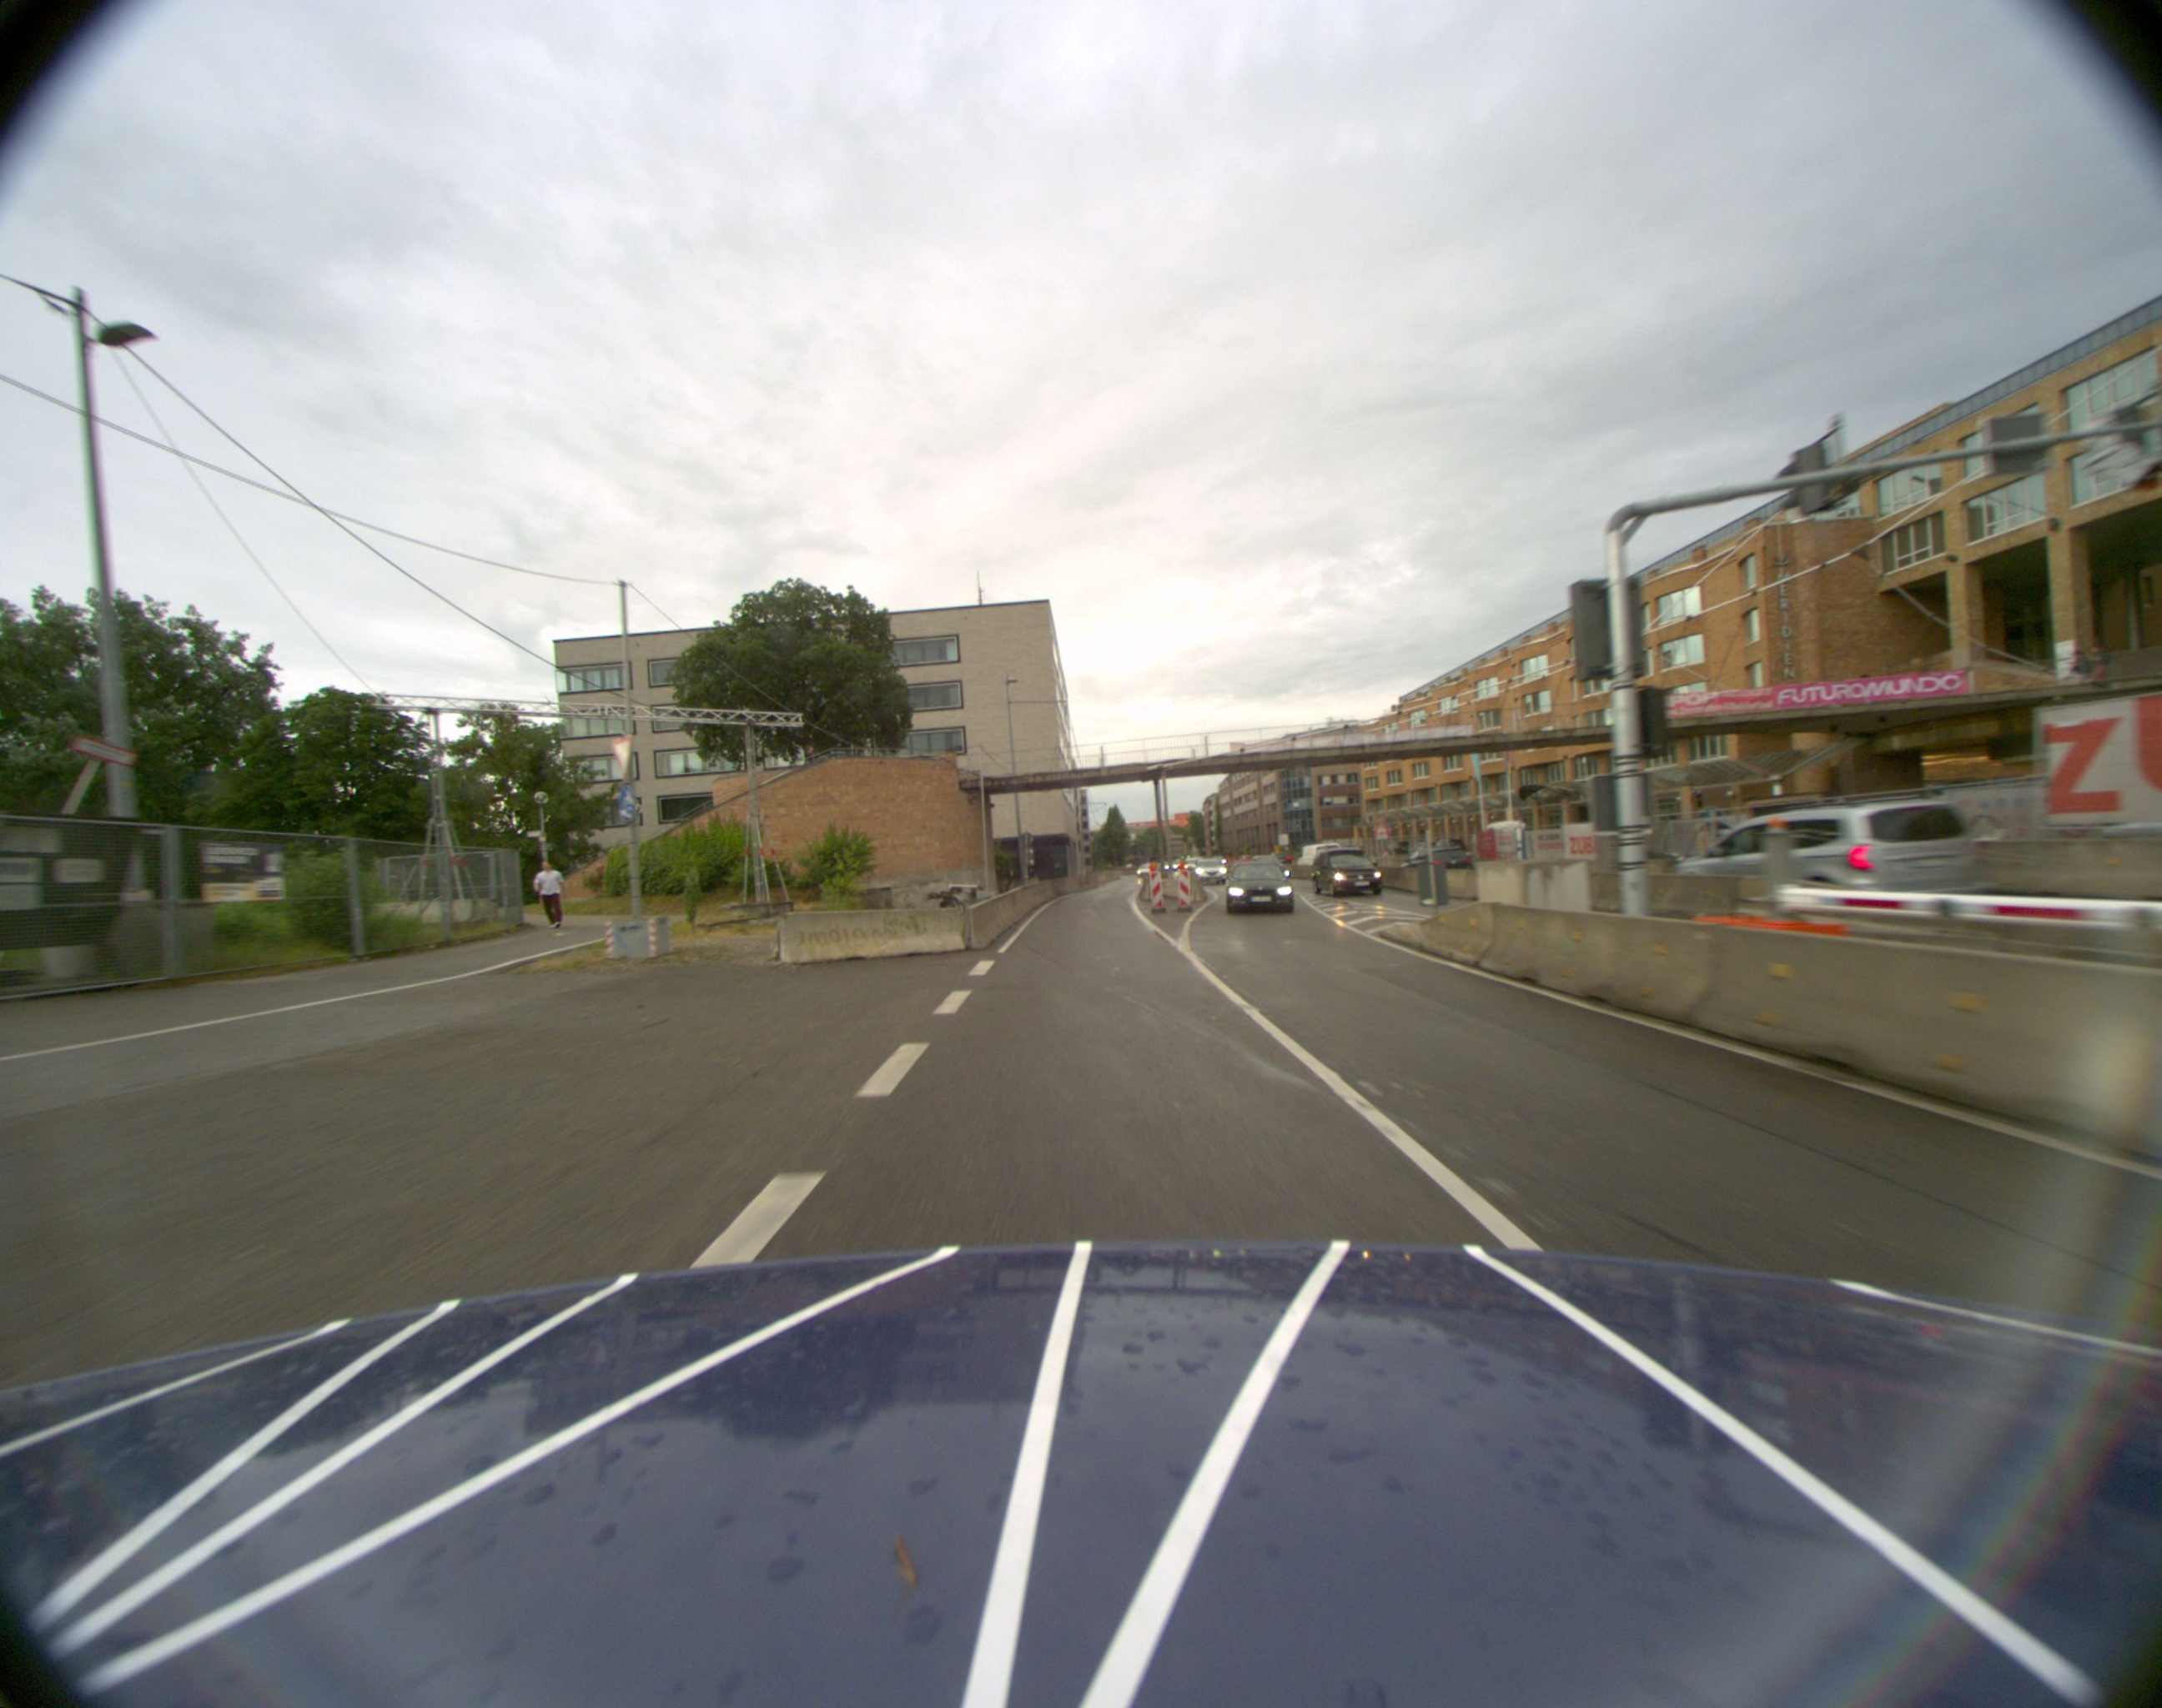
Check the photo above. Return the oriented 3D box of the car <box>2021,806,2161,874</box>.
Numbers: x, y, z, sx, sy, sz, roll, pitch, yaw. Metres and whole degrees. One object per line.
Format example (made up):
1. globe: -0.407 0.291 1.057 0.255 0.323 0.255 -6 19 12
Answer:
1. car: 27.775 -0.354 19.656 1.998 1.683 4.000 -1 0 1

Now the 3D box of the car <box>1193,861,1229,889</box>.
1. car: 8.245 1.303 48.535 1.771 1.524 4.658 -4 -1 4

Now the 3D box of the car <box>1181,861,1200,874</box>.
1. car: 14.581 1.768 101.335 1.772 1.524 4.657 -4 -1 2

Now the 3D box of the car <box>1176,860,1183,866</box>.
1. car: 31.390 2.749 241.279 1.890 1.772 4.879 -4 -1 4

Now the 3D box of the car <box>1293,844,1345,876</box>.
1. car: 15.301 0.431 49.077 1.810 1.810 5.303 -4 -1 2

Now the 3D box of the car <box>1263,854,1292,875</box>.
1. car: 17.144 0.878 66.462 1.809 1.614 3.904 -4 0 5

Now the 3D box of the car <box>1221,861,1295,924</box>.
1. car: 5.157 1.026 21.798 1.770 1.434 4.661 -5 -1 15

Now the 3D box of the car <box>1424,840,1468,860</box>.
1. car: 36.017 -0.373 75.114 1.998 1.680 5.051 -4 -1 2

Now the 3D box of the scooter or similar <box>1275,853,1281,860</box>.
1. scooter or similar: 32.744 0.393 126.258 0.450 1.056 1.044 -4 -1 -9

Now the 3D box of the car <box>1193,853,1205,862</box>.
1. car: 26.128 0.839 168.333 1.998 1.874 4.870 -4 -1 0

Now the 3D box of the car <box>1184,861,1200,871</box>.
1. car: 17.872 1.901 122.443 1.772 1.524 4.657 -4 -1 2

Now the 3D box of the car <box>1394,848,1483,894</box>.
1. car: 14.047 0.663 30.090 1.809 1.613 4.036 -4 -1 5

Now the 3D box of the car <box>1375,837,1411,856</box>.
1. car: 36.100 -0.861 88.060 1.998 1.875 5.014 -4 -1 0

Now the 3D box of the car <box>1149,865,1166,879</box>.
1. car: 9.627 2.216 95.720 1.772 1.524 4.658 -4 -1 3

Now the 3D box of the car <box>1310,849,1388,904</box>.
1. car: 10.007 0.806 28.665 1.798 1.789 4.253 -5 -1 7

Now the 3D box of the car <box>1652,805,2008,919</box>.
1. car: 12.448 0.139 13.168 1.751 1.540 4.524 -3 -1 2

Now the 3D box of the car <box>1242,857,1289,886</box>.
1. car: 10.857 1.022 44.968 1.772 1.524 4.357 -4 -1 3

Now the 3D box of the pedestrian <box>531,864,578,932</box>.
1. pedestrian: -14.131 1.160 20.406 0.692 1.768 0.814 -4 1 -15

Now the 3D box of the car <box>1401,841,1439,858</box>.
1. car: 35.814 -0.462 80.472 1.998 1.584 4.541 -4 -1 2

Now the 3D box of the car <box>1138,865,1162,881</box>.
1. car: 7.770 2.074 84.942 1.770 1.524 4.661 -5 -1 15

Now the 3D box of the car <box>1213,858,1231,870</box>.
1. car: 20.433 1.414 110.075 1.772 1.524 4.657 -4 -1 2
